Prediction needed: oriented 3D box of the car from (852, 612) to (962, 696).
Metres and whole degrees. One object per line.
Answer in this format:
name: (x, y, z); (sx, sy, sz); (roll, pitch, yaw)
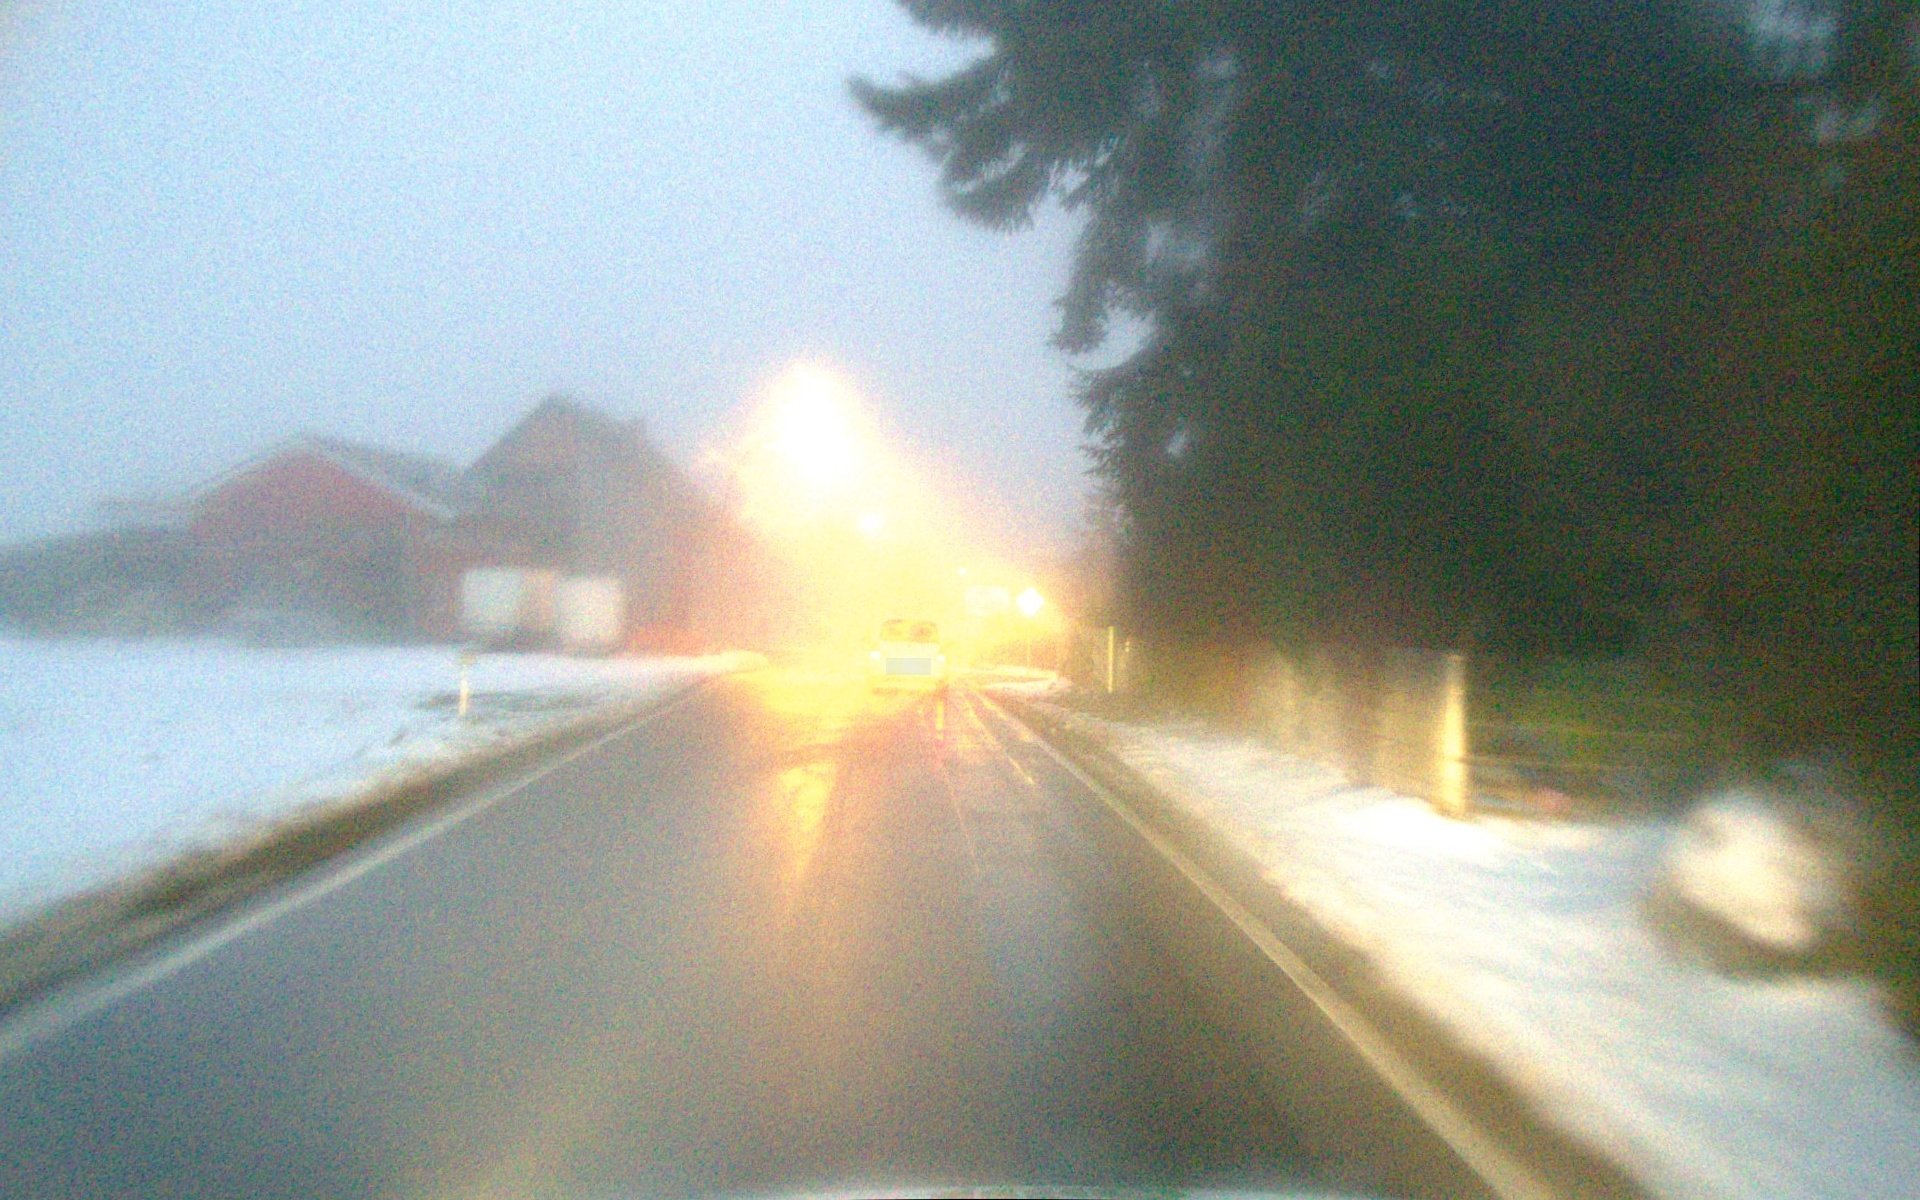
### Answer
car: (-0.980, 1.009, 32.551); (1.952, 1.534, 4.000); (0, -1, 1)

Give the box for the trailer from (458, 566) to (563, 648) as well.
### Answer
trailer: (-14.360, 0.228, 53.098); (1.951, 2.533, 4.012); (0, -1, 6)

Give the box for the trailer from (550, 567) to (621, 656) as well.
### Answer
trailer: (-11.712, 0.363, 51.606); (1.666, 2.651, 3.422); (0, -1, -22)
